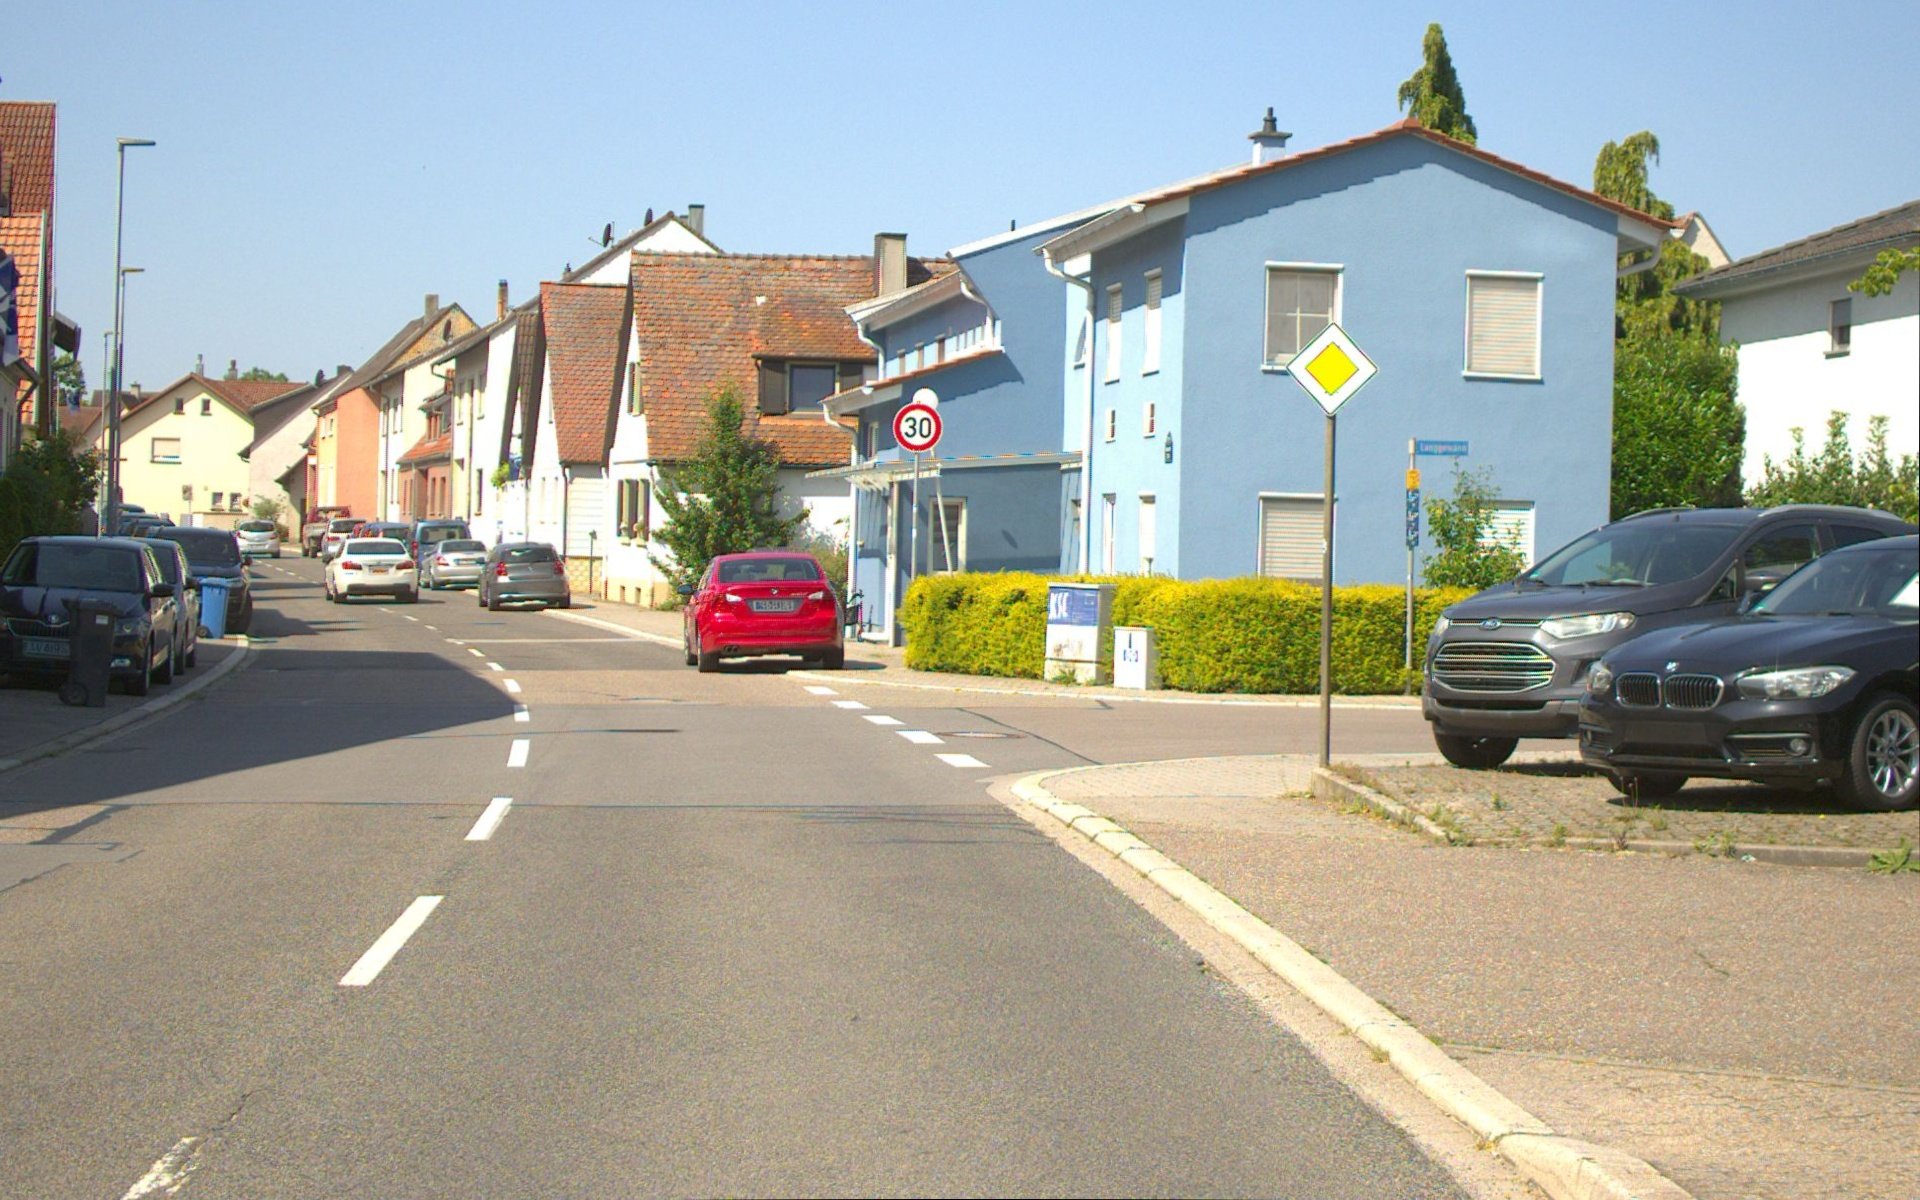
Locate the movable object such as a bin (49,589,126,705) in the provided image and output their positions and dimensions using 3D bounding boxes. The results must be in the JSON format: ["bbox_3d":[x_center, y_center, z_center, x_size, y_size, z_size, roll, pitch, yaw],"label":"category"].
[{"bbox_3d":[-7.583,0.403,29.883,0.551,0.925,0.826,6,0,-14],"label":"movable object such as a bin"}]

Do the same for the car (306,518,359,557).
[{"bbox_3d":[-23.859,-2.365,130.712,1.766,1.428,3.451,1,1,-13],"label":"car"}]

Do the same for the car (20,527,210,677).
[{"bbox_3d":[-9.526,0.004,38.968,1.640,1.496,3.782,4,0,-8],"label":"car"}]

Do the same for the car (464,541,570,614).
[{"bbox_3d":[-9.458,-0.496,73.193,1.704,1.428,3.891,2,1,-15],"label":"car"}]

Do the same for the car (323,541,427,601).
[{"bbox_3d":[-13.306,-0.671,78.012,1.993,1.284,4.001,1,1,-14],"label":"car"}]

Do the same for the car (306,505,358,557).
[{"bbox_3d":[-24.734,-2.709,135.332,1.766,1.997,3.451,1,1,-13],"label":"car"}]

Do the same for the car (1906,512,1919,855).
[{"bbox_3d":[6.543,0.400,16.437,4.228,1.560,1.983,0,1,-44],"label":"car"}]

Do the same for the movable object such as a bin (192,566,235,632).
[{"bbox_3d":[-11.452,-0.021,52.761,0.596,0.979,0.531,3,0,-12],"label":"movable object such as a bin"}]

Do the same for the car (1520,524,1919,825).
[{"bbox_3d":[4.925,0.345,18.604,3.863,1.442,1.750,0,1,-44],"label":"car"}]

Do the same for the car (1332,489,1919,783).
[{"bbox_3d":[4.408,0.181,21.244,4.102,1.647,1.831,0,1,-40],"label":"car"}]

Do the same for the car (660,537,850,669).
[{"bbox_3d":[-2.588,-0.005,42.400,1.732,1.489,4.356,0,2,-12],"label":"car"}]

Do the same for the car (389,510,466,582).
[{"bbox_3d":[-14.713,-1.500,94.847,1.649,1.903,3.627,2,1,-15],"label":"car"}]

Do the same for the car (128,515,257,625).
[{"bbox_3d":[-12.793,-0.516,57.496,1.919,1.662,4.667,4,0,-11],"label":"car"}]

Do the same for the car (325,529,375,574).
[{"bbox_3d":[-21.750,-1.746,122.602,1.420,1.510,3.305,2,1,-15],"label":"car"}]

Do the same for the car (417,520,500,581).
[{"bbox_3d":[-13.127,-1.302,89.847,1.704,1.491,3.453,2,1,-15],"label":"car"}]

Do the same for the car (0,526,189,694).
[{"bbox_3d":[-8.578,0.063,33.521,1.678,1.432,3.997,4,0,-8],"label":"car"}]

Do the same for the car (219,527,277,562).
[{"bbox_3d":[-27.242,-2.125,131.470,1.993,1.284,3.805,1,1,-14],"label":"car"}]
